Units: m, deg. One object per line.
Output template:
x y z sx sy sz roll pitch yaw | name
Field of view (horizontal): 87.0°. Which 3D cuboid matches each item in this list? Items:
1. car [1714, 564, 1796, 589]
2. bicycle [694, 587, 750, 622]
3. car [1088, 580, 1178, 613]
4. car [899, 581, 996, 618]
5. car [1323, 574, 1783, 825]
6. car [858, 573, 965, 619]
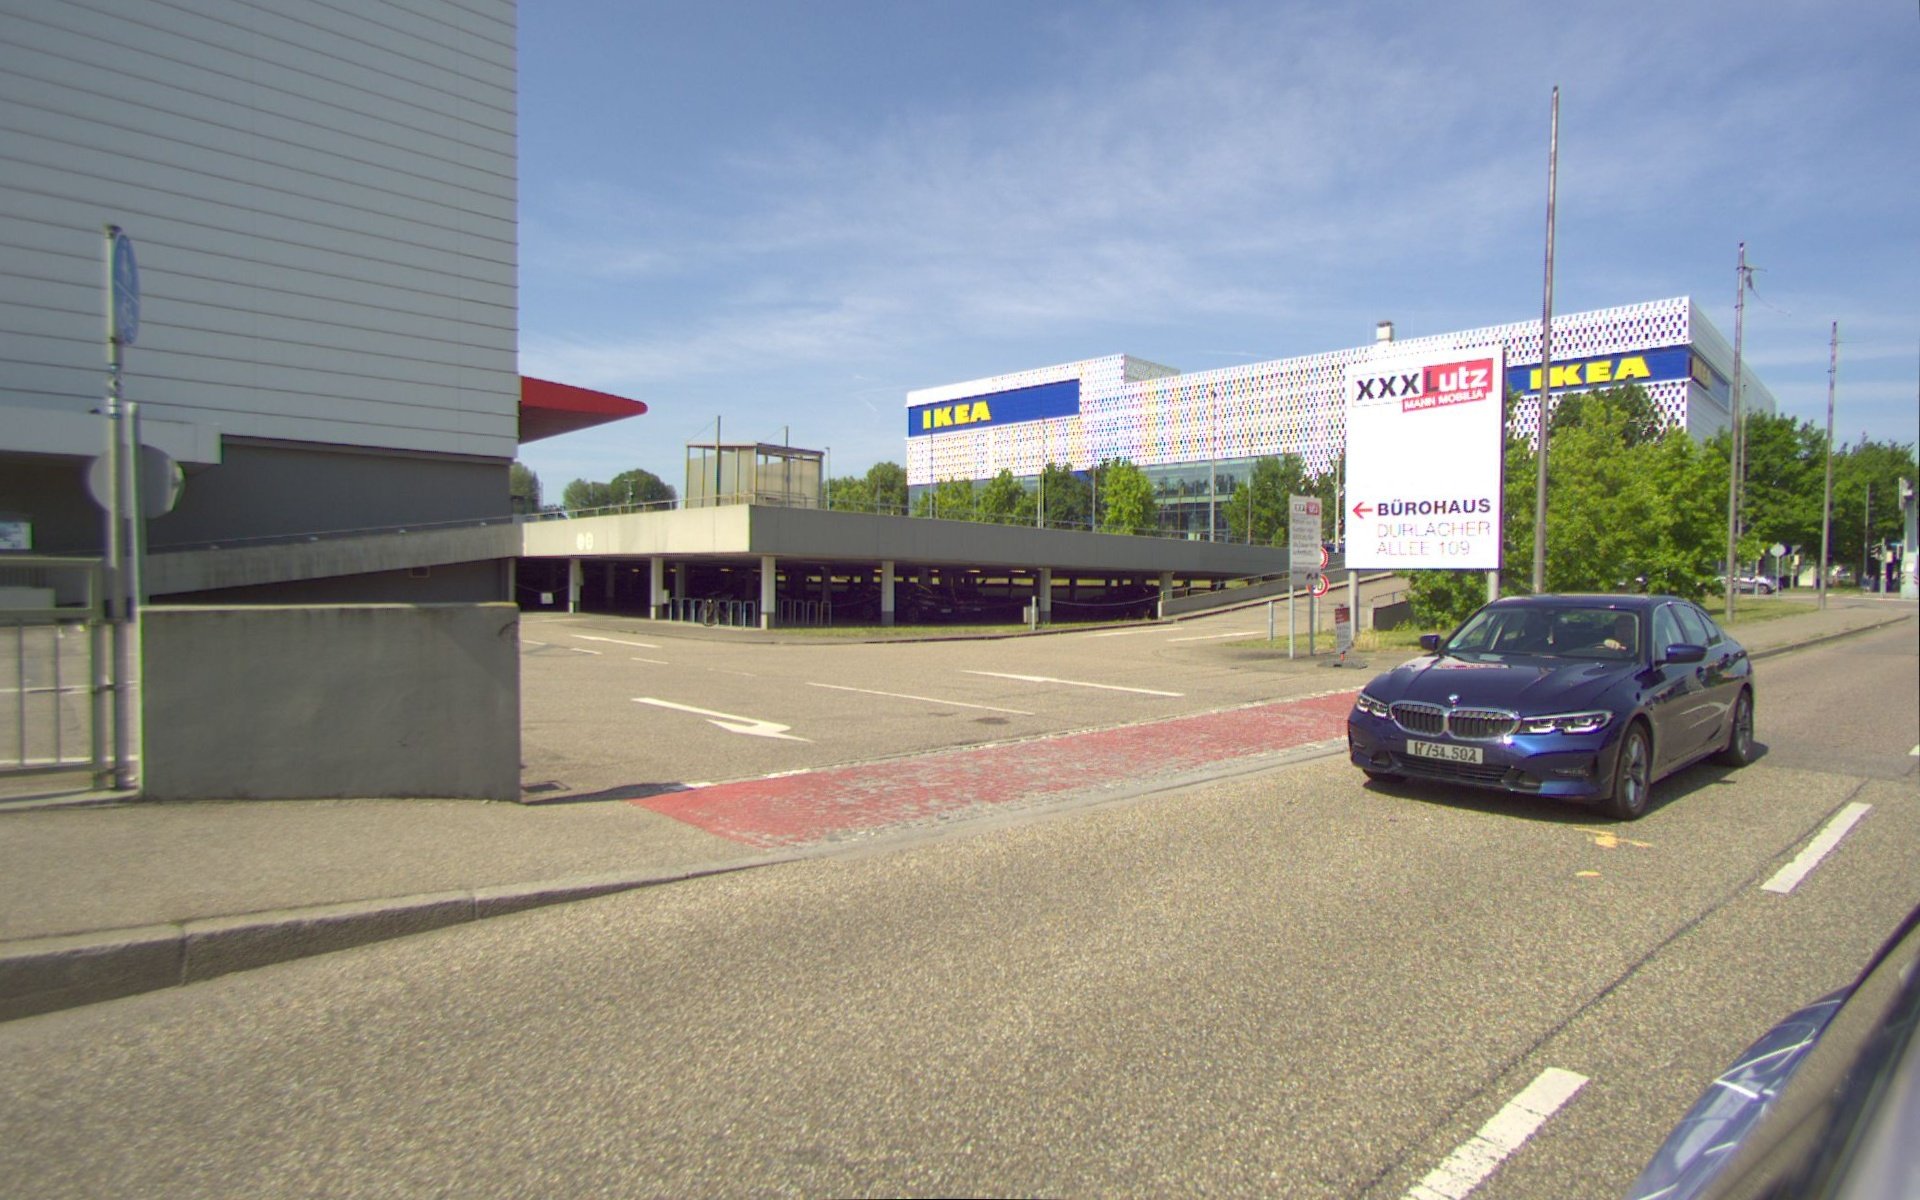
51.398 -1.562 65.462 1.777 1.577 3.892 -1 2 -41 | car
-7.467 0.132 31.755 1.679 1.073 0.512 0 1 -42 | bicycle
8.518 -0.181 50.016 4.107 1.542 1.773 0 1 41 | car
-0.544 -0.033 40.497 1.661 1.404 3.874 -1 1 -44 | car
4.870 0.549 8.016 4.458 1.447 1.799 0 1 -41 | car
-1.875 -0.163 38.284 1.723 1.647 4.154 -1 1 -44 | car
